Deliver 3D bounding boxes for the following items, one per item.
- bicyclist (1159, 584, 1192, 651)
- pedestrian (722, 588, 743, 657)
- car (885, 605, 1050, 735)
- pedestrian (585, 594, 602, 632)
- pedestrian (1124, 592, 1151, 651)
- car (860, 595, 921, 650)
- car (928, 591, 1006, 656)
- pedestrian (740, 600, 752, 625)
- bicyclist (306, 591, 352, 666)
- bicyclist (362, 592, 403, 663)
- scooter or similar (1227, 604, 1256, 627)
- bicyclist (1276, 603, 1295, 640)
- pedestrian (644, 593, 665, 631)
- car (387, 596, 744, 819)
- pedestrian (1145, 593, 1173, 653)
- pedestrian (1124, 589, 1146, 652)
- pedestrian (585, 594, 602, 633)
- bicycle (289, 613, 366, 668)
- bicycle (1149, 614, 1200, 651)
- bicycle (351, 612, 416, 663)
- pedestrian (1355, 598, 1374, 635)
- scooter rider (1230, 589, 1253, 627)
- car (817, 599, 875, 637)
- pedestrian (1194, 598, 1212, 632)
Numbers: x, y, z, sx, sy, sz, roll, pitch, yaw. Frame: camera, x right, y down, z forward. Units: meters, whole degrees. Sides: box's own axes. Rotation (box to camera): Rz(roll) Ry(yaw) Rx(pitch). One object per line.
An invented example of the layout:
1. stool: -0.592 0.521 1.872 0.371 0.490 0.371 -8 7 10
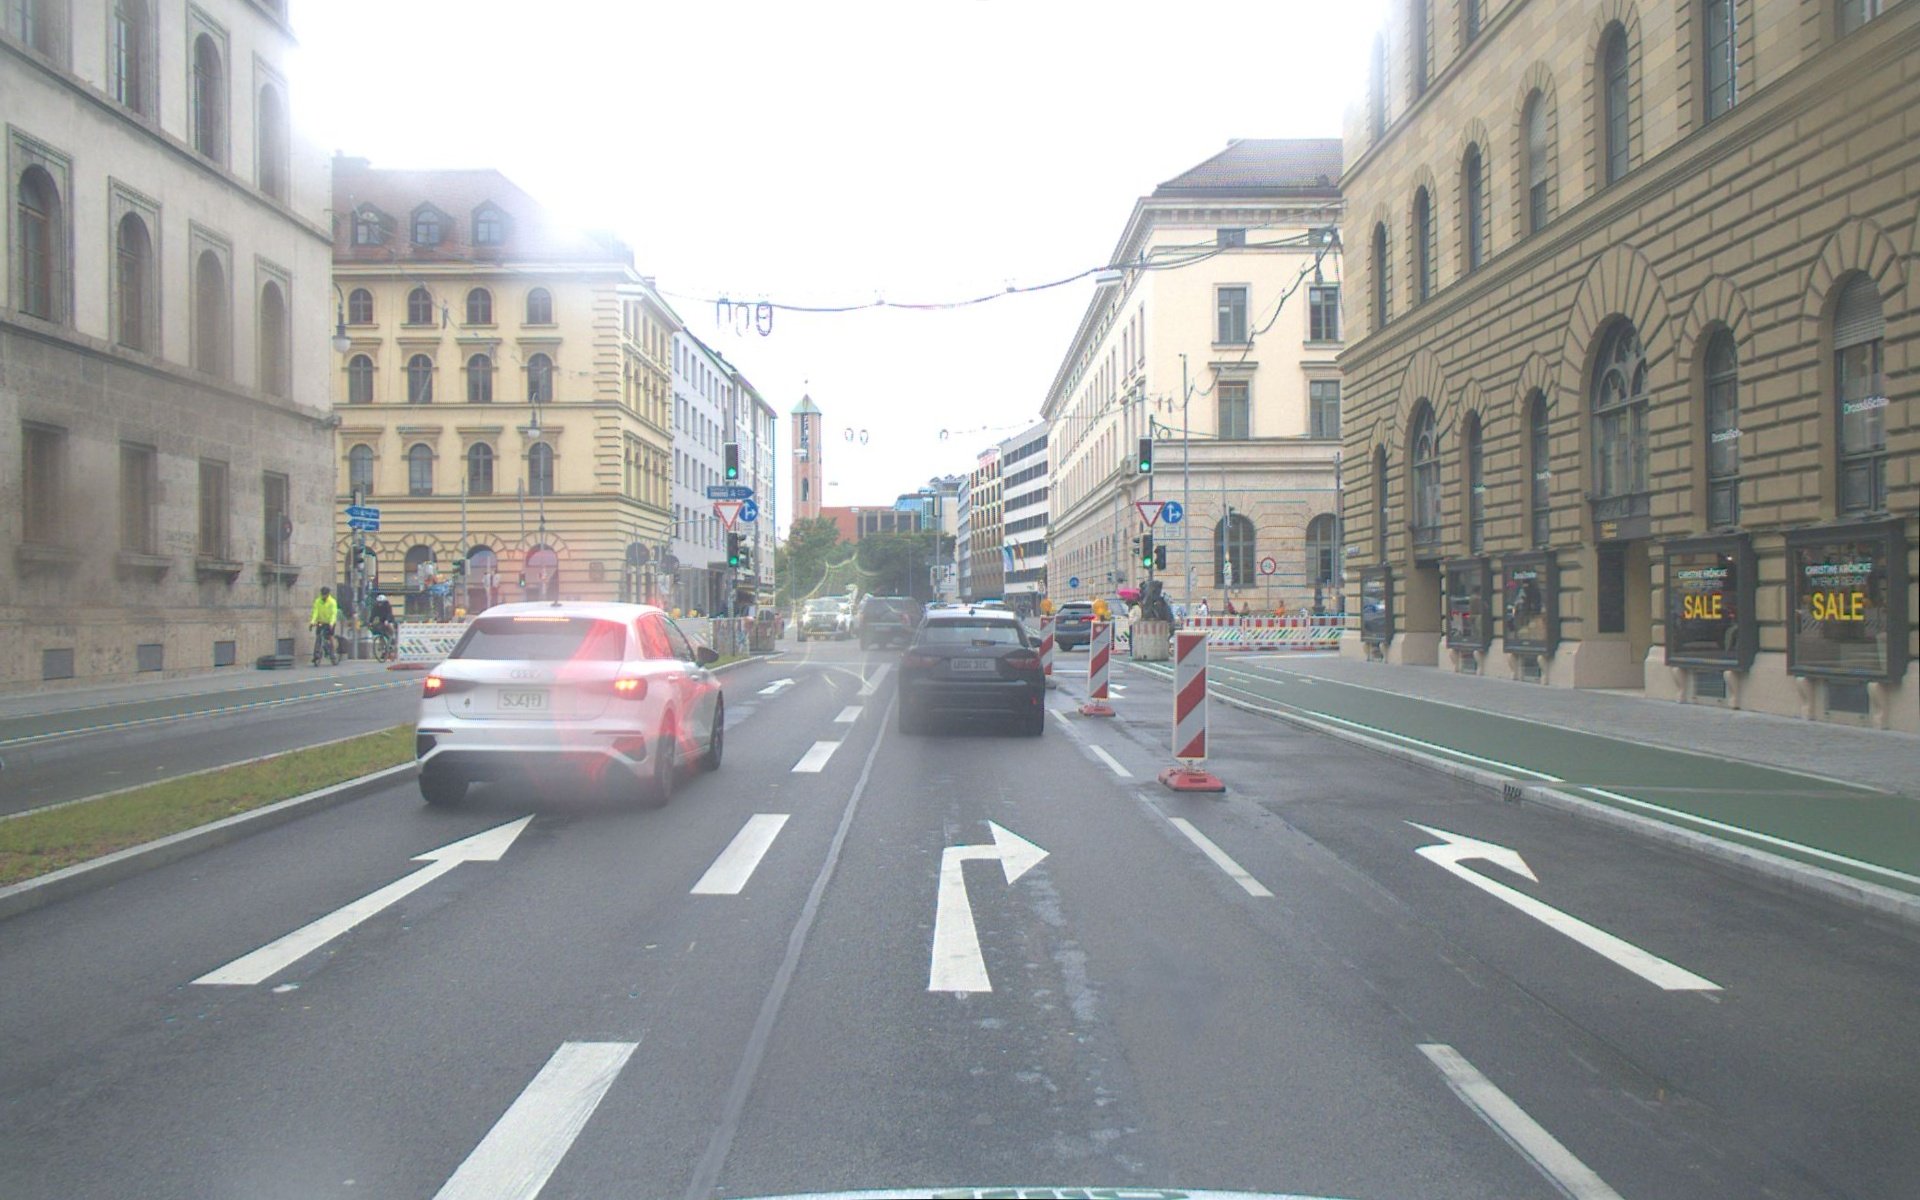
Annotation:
1. bicyclist: 6.156 0.492 47.274 0.560 1.886 0.791 1 0 -30
2. pedestrian: -5.976 0.583 43.371 0.503 1.773 1.041 0 0 -10
3. car: 0.051 0.786 20.321 1.825 1.412 3.999 0 0 -1
4. pedestrian: -17.297 0.610 78.107 0.720 1.803 0.737 1 0 -11
5. pedestrian: 4.922 0.591 45.779 0.688 1.594 0.541 1 0 1
6. car: -2.153 0.679 52.238 1.827 1.629 3.850 -1 0 -1
7. car: 0.238 0.603 44.536 1.731 1.645 4.003 1 0 5
8. pedestrian: -15.170 0.883 117.355 0.722 1.803 0.736 1 0 -1
9. bicyclist: -15.221 0.685 39.907 0.781 1.779 0.689 1 0 3
10. bicyclist: -14.907 0.694 42.732 0.781 1.807 0.689 1 0 3
11. scooter or similar: 12.384 0.681 72.737 1.186 0.982 0.588 1 0 0
12. bicyclist: 14.544 0.972 73.884 0.728 1.643 0.795 1 0 2
13. pedestrian: -14.612 0.566 79.179 0.718 1.803 0.739 0 0 20
14. car: -2.897 0.709 13.158 1.776 1.449 4.451 1 0 -1
15. pedestrian: 5.391 0.617 44.889 0.688 1.594 0.682 1 0 1
16. pedestrian: 4.626 0.540 43.792 0.520 1.648 0.674 1 0 1
17. pedestrian: -17.137 0.625 77.379 0.720 1.803 0.737 1 0 -11
18. bicycle: -15.227 0.958 39.901 0.770 1.264 2.450 1 0 4
19. bicycle: 6.129 0.929 47.311 0.578 1.029 1.640 1 0 -30
20. bicycle: -14.916 0.958 42.834 0.770 1.264 2.200 1 0 4
21. pedestrian: 19.220 0.766 78.624 0.700 1.723 0.820 1 0 1
22. scooter rider: 12.383 0.355 72.737 0.913 1.651 0.592 1 0 1
23. car: -5.296 0.804 77.175 1.755 1.707 4.236 -1 0 9
24. pedestrian: 11.378 0.716 77.573 0.800 1.584 0.667 1 0 7
